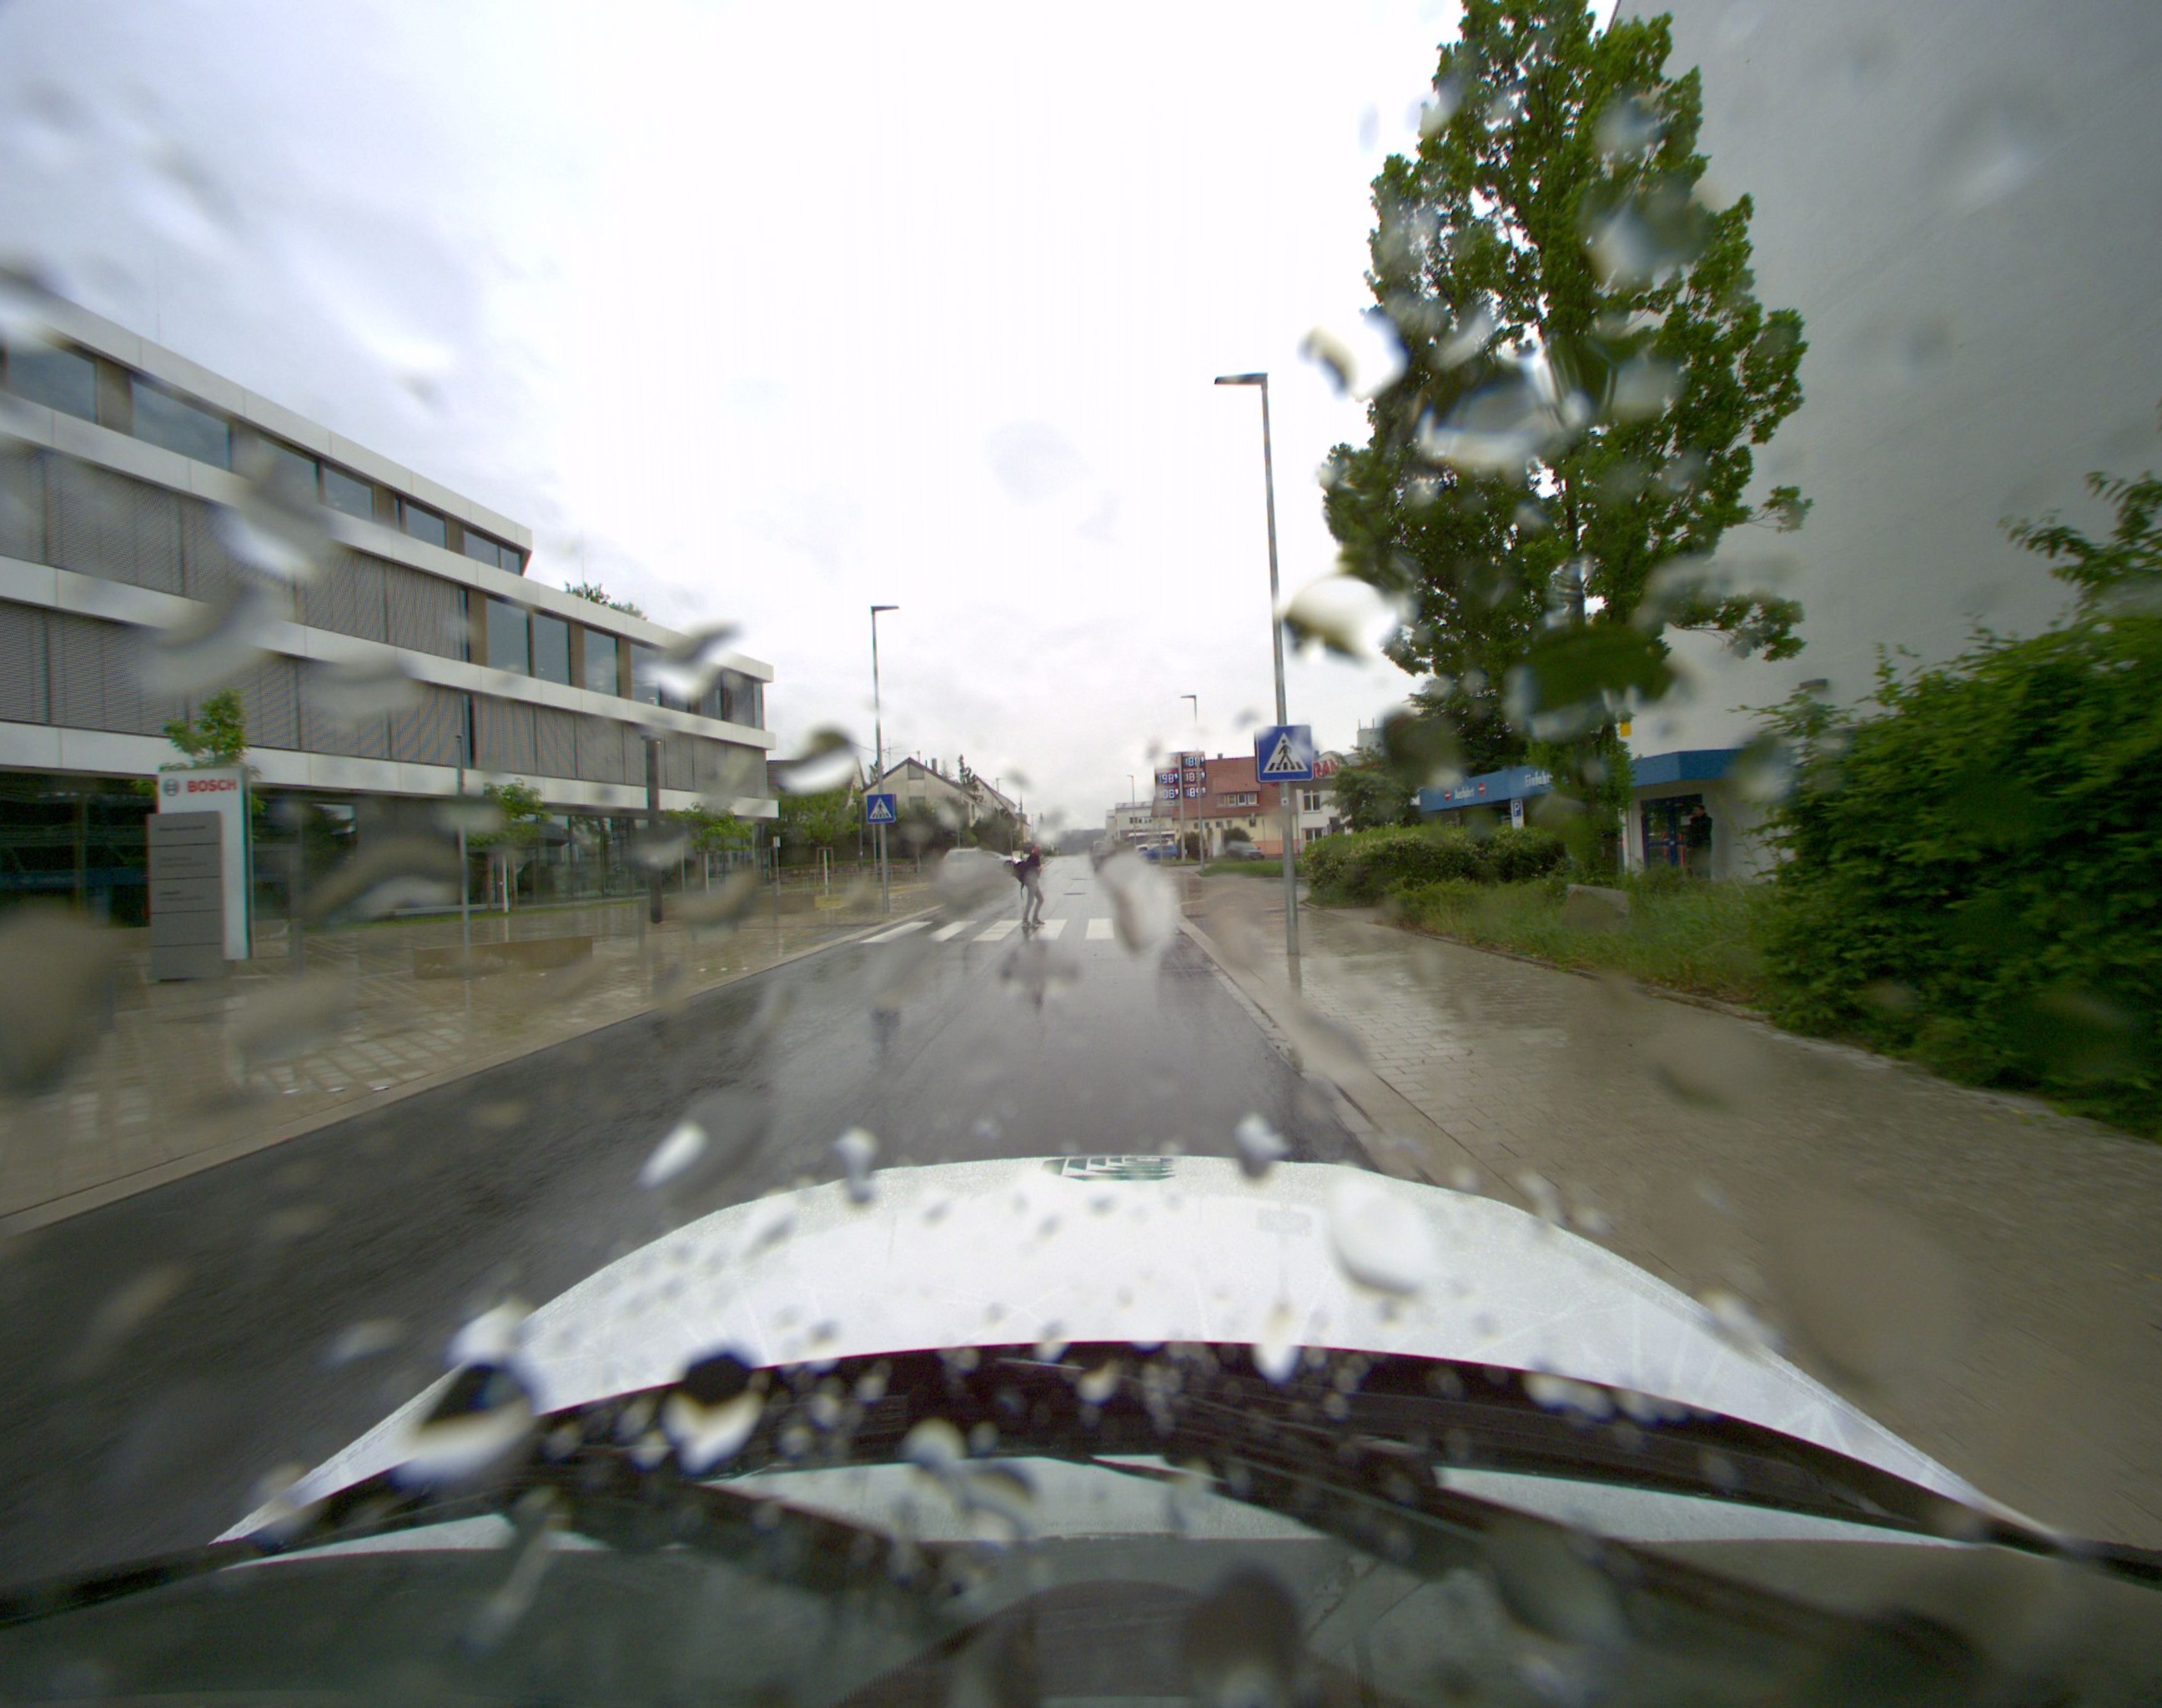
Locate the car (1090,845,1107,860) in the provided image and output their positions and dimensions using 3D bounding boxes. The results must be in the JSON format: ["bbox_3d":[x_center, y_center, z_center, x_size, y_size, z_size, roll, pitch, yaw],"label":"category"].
[{"bbox_3d":[2.199,-0.208,101.494,1.986,1.706,4.001,1,-2,1],"label":"car"}]

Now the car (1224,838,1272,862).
[{"bbox_3d":[11.787,-0.253,57.576,1.994,1.552,3.986,2,-2,-10],"label":"car"}]

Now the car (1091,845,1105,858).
[{"bbox_3d":[2.406,-0.365,114.575,1.986,1.706,4.001,1,-2,1],"label":"car"}]

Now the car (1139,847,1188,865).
[{"bbox_3d":[7.384,0.197,72.594,3.954,1.493,1.866,1,-2,19],"label":"car"}]

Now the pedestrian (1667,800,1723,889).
[{"bbox_3d":[13.088,-0.195,17.382,0.567,1.836,0.772,-2,0,-1],"label":"pedestrian"}]

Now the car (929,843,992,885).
[{"bbox_3d":[-5.251,0.401,36.034,1.986,1.629,4.154,-3,0,1],"label":"car"}]

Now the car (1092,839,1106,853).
[{"bbox_3d":[2.431,-1.007,108.247,1.776,1.706,4.001,1,-2,1],"label":"car"}]

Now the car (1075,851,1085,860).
[{"bbox_3d":[-0.207,0.357,174.633,2.146,1.706,4.001,1,-2,1],"label":"car"}]

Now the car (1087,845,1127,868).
[{"bbox_3d":[1.951,0.223,60.273,1.933,1.556,4.017,1,-2,17],"label":"car"}]

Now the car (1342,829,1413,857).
[{"bbox_3d":[17.530,-0.637,48.167,3.526,1.556,1.942,0,-1,-19],"label":"car"}]

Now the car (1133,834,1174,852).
[{"bbox_3d":[7.646,-1.168,85.614,4.101,1.706,1.787,1,-2,-2],"label":"car"}]

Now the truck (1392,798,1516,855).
[{"bbox_3d":[25.231,-1.808,55.150,7.731,3.445,2.667,2,-2,-14],"label":"truck"}]

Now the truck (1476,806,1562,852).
[{"bbox_3d":[21.788,-1.183,40.690,1.990,2.014,3.993,1,-2,-4],"label":"truck"}]

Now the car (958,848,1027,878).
[{"bbox_3d":[-6.324,0.636,58.598,4.742,2.014,1.998,1,-2,-3],"label":"car"}]

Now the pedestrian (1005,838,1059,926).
[{"bbox_3d":[-0.986,0.559,16.656,1.010,1.724,0.772,-2,0,-1],"label":"pedestrian"}]
